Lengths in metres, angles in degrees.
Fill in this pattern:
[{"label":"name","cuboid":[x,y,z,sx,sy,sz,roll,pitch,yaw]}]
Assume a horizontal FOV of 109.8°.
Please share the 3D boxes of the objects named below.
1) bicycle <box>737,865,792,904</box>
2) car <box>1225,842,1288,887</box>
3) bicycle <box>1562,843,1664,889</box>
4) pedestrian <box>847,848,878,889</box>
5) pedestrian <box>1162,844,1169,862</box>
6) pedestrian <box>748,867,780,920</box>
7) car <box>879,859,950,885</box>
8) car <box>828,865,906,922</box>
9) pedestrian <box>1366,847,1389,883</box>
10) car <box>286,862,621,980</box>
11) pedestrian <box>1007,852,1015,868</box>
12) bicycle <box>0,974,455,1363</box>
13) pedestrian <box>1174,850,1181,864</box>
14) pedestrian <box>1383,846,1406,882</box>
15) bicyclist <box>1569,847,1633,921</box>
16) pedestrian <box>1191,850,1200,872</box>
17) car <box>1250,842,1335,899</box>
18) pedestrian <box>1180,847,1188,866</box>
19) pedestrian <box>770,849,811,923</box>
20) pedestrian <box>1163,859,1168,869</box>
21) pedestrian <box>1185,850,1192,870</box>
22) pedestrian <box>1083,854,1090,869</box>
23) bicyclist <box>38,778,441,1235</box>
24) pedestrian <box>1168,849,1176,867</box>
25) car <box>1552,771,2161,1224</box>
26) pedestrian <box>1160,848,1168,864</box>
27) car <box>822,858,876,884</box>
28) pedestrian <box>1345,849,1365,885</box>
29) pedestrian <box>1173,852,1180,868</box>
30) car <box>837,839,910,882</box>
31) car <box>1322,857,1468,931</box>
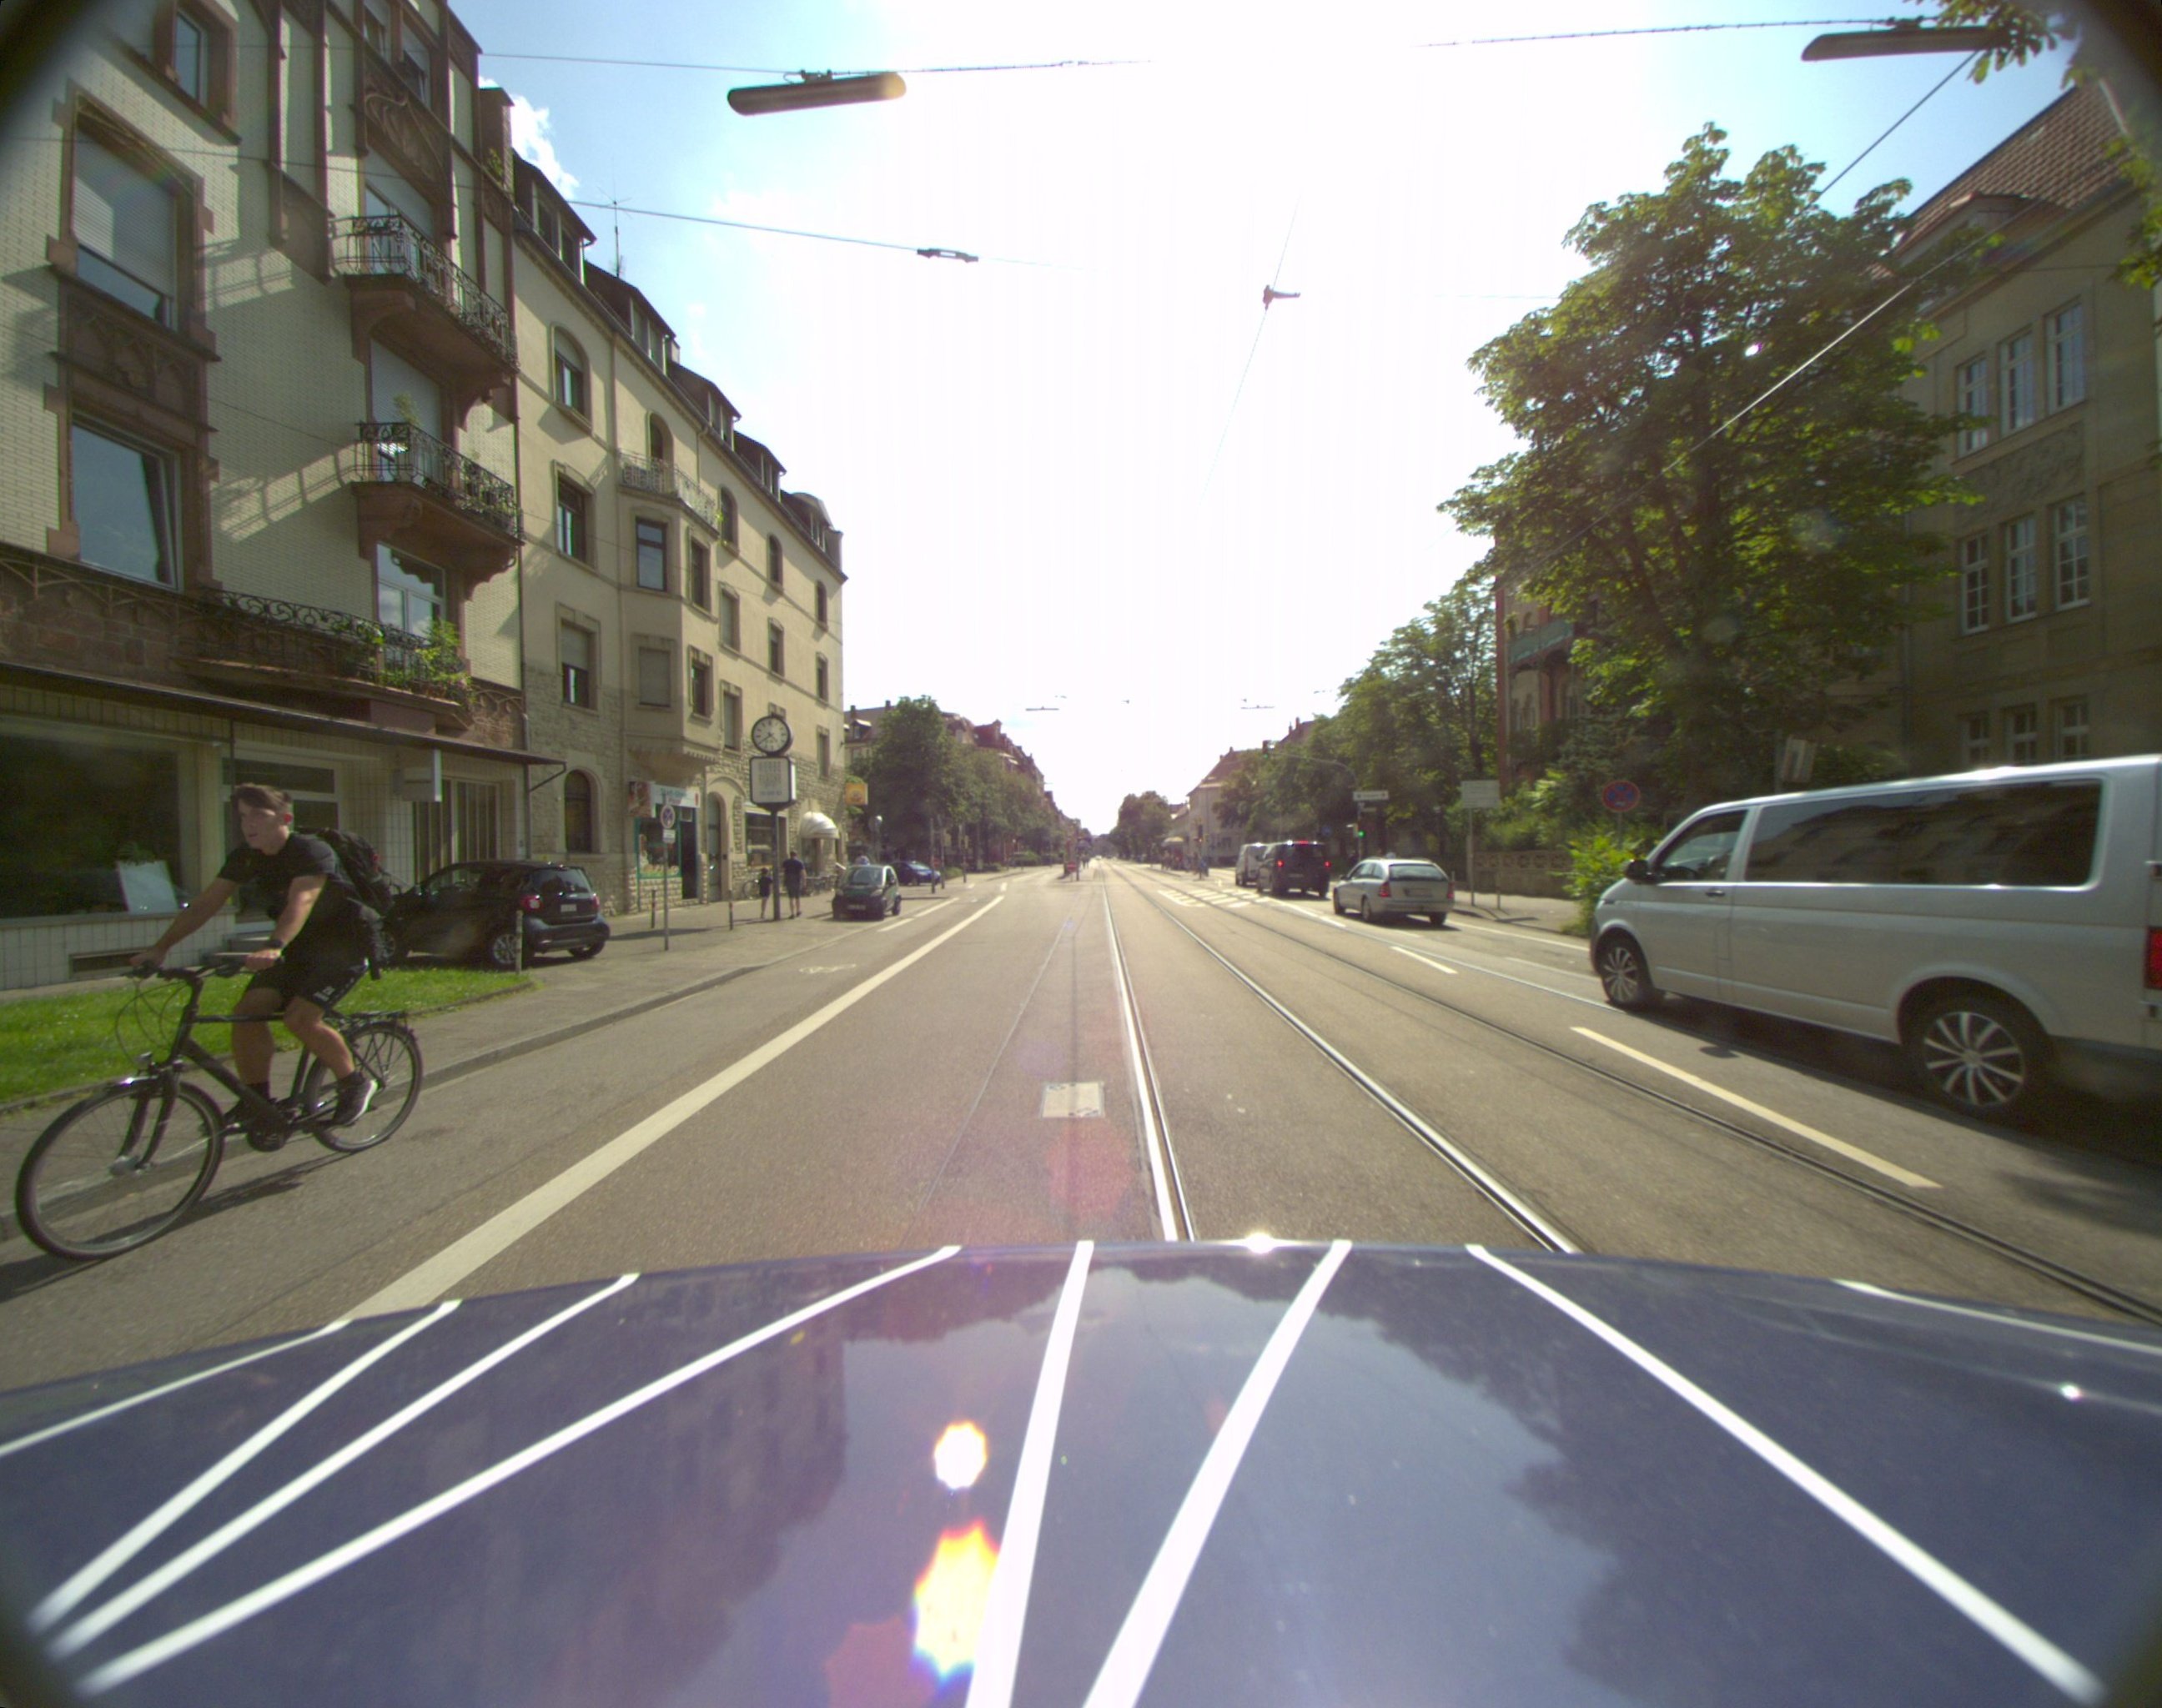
[{"label":"bicycle","cuboid":[-11.082,1.035,26.725,0.807,1.171,2.751,-3,1,-2]},{"label":"car","cuboid":[8.319,0.441,36.492,1.998,1.983,5.088,-1,1,2]},{"label":"bicycle","cuboid":[12.241,0.264,17.579,1.001,0.927,1.860,-5,0,0]},{"label":"pedestrian","cuboid":[-9.988,0.658,34.740,1.013,1.758,0.850,5,0,2]},{"label":"pedestrian","cuboid":[7.911,-0.080,70.798,0.498,1.660,0.678,1,1,-5]},{"label":"pedestrian","cuboid":[-8.163,1.018,19.575,0.571,1.318,0.442,4,0,-7]},{"label":"car","cuboid":[-9.948,1.064,45.294,3.989,1.410,1.896,-1,0,36]},{"label":"car","cuboid":[-6.180,1.113,22.221,1.517,1.490,2.794,1,0,-1]},{"label":"pedestrian","cuboid":[14.459,0.531,37.035,0.624,1.688,0.848,-3,1,-11]},{"label":"car","cuboid":[-9.174,0.923,11.342,3.409,1.515,1.972,1,1,3]},{"label":"pedestrian","cuboid":[-7.558,0.636,82.087,0.707,1.644,0.534,-3,1,1]},{"label":"bicycle","cuboid":[-4.070,1.274,3.631,0.617,1.039,1.835,2,2,1]},{"label":"pedestrian","cuboid":[8.847,0.264,69.677,0.605,1.329,0.406,1,1,-5]},{"label":"pedestrian","cuboid":[14.839,0.478,35.968,0.613,1.647,0.725,-3,0,-12]},{"label":"bicyclist","cuboid":[12.022,0.679,17.579,0.953,1.635,0.702,-3,1,0]},{"label":"pedestrian","cuboid":[7.932,0.490,52.748,0.538,1.533,0.516,-1,-1,1]},{"label":"car","cuboid":[7.882,0.543,28.792,1.932,1.906,5.124,1,1,2]},{"label":"pedestrian","cuboid":[8.869,0.208,65.562,0.473,1.647,0.746,5,1,1]},{"label":"pedestrian","cuboid":[-7.477,0.803,19.585,0.661,1.831,0.873,5,0,-7]},{"label":"pedestrian","cuboid":[7.890,0.974,71.006,0.340,0.925,0.346,1,1,-5]},{"label":"pedestrian","cuboid":[8.497,0.463,59.898,0.428,1.495,0.704,0,1,1]},{"label":"pedestrian","cuboid":[0.596,0.787,80.436,0.702,1.524,0.557,-3,1,1]},{"label":"bicyclist","cuboid":[-4.077,0.654,3.819,0.608,1.937,1.130,-3,1,1]},{"label":"pedestrian","cuboid":[8.733,0.392,73.207,0.657,1.632,0.638,2,1,1]},{"label":"car","cuboid":[5.802,0.612,5.384,1.991,1.951,5.180,0,0,4]},{"label":"pedestrian","cuboid":[8.446,0.206,77.175,0.657,1.598,0.638,1,1,-5]},{"label":"car","cuboid":[-15.070,1.089,49.285,1.731,1.546,4.102,-5,2,-41]},{"label":"pedestrian","cuboid":[12.784,0.610,35.458,0.521,1.647,0.751,-3,1,-12]},{"label":"pedestrian","cuboid":[8.434,0.533,67.047,0.530,1.448,0.692,1,1,0]},{"label":"car","cuboid":[-14.549,0.510,52.877,2.397,2.777,6.657,-2,0,-38]},{"label":"car","cuboid":[7.189,0.829,17.930,1.696,1.472,4.482,1,0,2]}]
